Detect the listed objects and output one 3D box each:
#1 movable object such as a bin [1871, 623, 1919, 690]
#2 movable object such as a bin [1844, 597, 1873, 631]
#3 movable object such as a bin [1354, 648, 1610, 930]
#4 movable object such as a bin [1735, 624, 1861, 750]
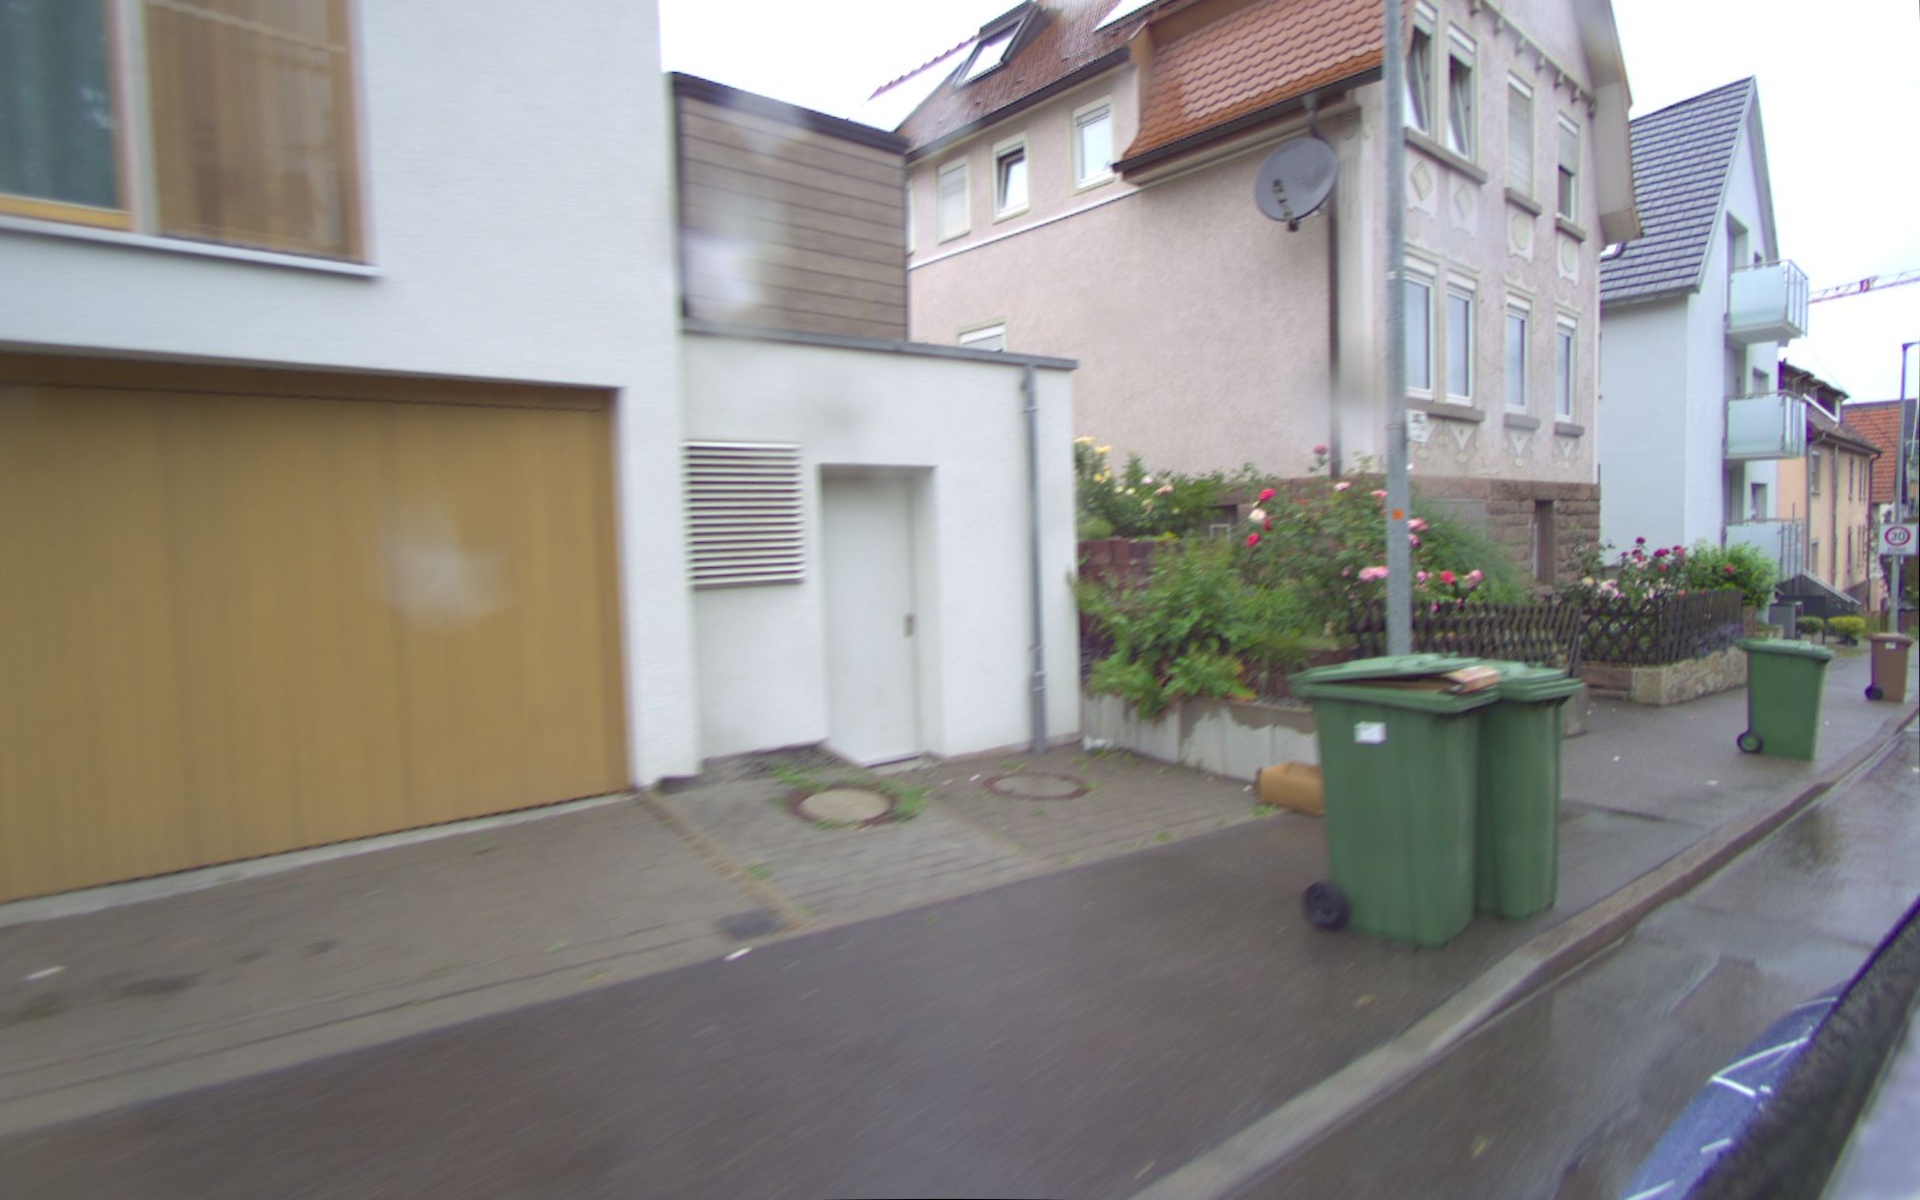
[{"bbox_3d":[13.360,0.788,14.328,0.700,0.908,0.631,0,0,-42],"label":"movable object such as a bin"},{"bbox_3d":[31.357,0.479,35.320,0.645,1.106,0.661,0,4,-44],"label":"movable object such as a bin"},{"bbox_3d":[2.385,0.787,4.640,0.737,1.074,0.837,0,0,-41],"label":"movable object such as a bin"},{"bbox_3d":[7.866,0.783,9.505,0.747,1.084,0.798,0,0,-40],"label":"movable object such as a bin"}]
